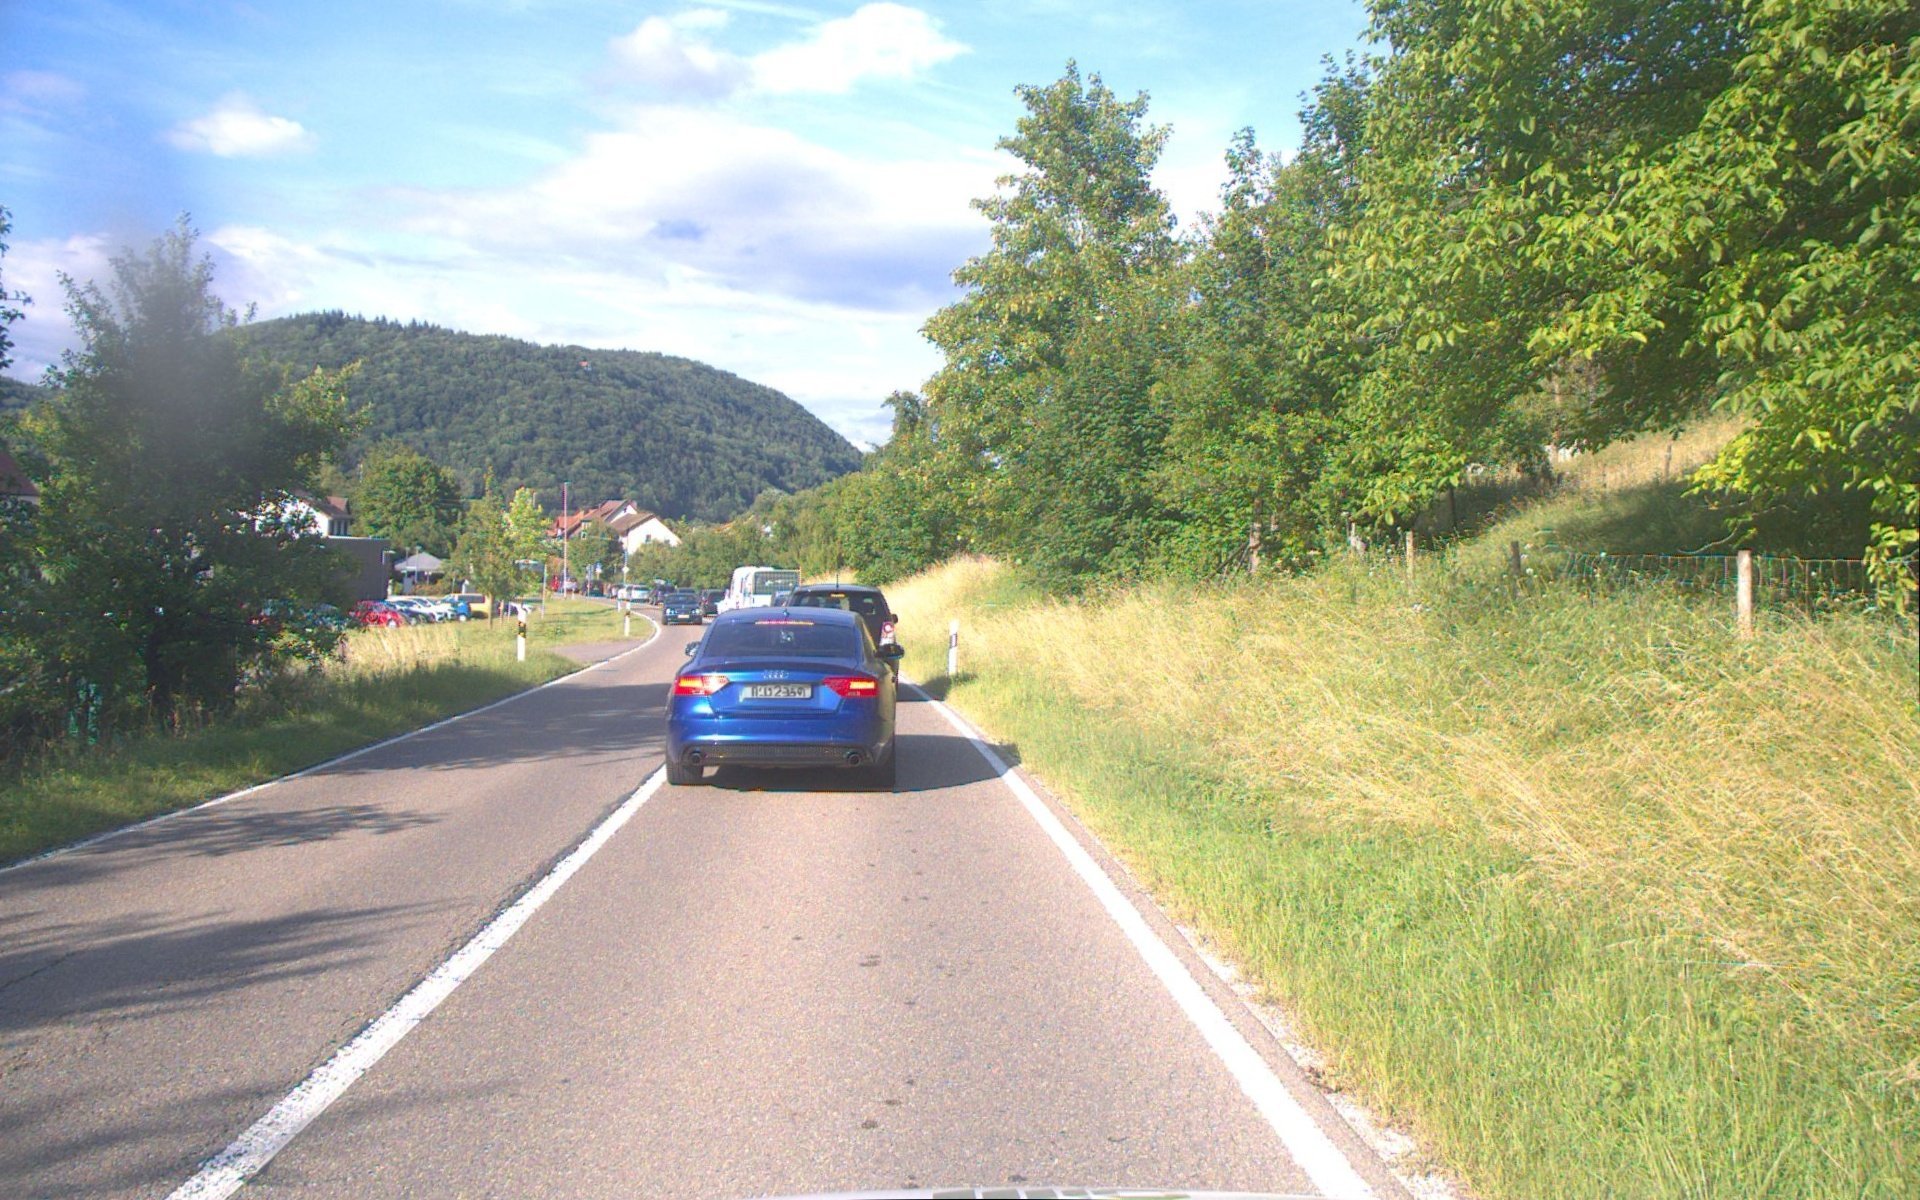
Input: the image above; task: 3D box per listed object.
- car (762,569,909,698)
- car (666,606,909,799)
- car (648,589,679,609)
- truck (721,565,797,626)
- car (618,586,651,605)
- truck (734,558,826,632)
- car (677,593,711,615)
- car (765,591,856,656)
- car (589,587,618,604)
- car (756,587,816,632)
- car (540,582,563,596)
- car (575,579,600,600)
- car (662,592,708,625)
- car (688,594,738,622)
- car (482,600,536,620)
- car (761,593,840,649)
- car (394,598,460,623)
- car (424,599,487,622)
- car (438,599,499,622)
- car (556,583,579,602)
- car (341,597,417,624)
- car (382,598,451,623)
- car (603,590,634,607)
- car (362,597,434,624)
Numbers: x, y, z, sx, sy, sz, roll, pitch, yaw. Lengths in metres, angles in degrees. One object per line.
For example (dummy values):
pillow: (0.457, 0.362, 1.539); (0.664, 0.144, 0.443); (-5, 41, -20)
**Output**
car: (-1.779, 0.470, 24.466); (1.954, 1.732, 3.998); (1, 0, -3)
car: (-1.343, 0.754, 14.020); (1.758, 1.383, 3.998); (0, 0, -3)
car: (-23.233, -0.093, 129.599); (1.962, 1.508, 3.981); (1, 0, -17)
truck: (-9.750, -0.208, 79.246); (2.813, 2.712, 10.615); (1, 0, -11)
car: (-27.633, -0.392, 140.453); (1.966, 1.508, 3.972); (1, 0, -23)
truck: (-7.452, -0.201, 67.338); (2.813, 2.712, 10.364); (1, 0, -11)
car: (-19.258, 0.276, 119.611); (1.962, 1.508, 3.981); (1, 0, -17)
car: (-3.556, 0.533, 38.785); (1.956, 1.411, 3.993); (1, 0, -8)
car: (-33.961, -0.414, 157.606); (1.966, 1.508, 3.972); (1, 0, -23)
car: (-6.157, 0.338, 58.269); (1.956, 1.508, 3.993); (1, 0, -8)
car: (-47.120, -1.236, 190.700); (1.966, 1.508, 3.972); (1, 0, -23)
car: (-38.411, -1.099, 170.555); (1.965, 2.049, 3.974); (1, 0, -22)
car: (-12.373, 0.385, 74.357); (1.957, 1.400, 3.990); (1, 0, -10)
car: (-13.871, 0.432, 92.668); (1.965, 1.508, 3.975); (1, 0, -21)
car: (-36.702, 0.825, 134.686); (3.907, 1.581, 1.781); (1, -1, -2)
car: (-4.580, 0.585, 46.969); (1.957, 1.508, 3.991); (1, 0, -9)
car: (-35.847, 0.689, 111.294); (3.907, 1.581, 1.781); (1, -1, -2)
car: (-35.792, 0.730, 117.451); (3.907, 1.581, 1.781); (1, -1, -2)
car: (-35.605, 0.748, 119.846); (3.907, 1.581, 1.781); (1, -1, -2)
car: (-43.343, -0.770, 182.599); (1.965, 2.049, 3.974); (1, 0, -22)
car: (-35.030, 0.629, 99.821); (3.907, 1.581, 1.781); (1, -1, -2)
car: (-35.531, 0.675, 108.167); (3.907, 1.581, 1.781); (1, -1, -2)
car: (-30.411, -0.116, 147.388); (1.966, 1.508, 3.972); (1, 0, -23)
car: (-35.330, 0.651, 104.005); (3.907, 1.581, 1.781); (1, -1, -2)
